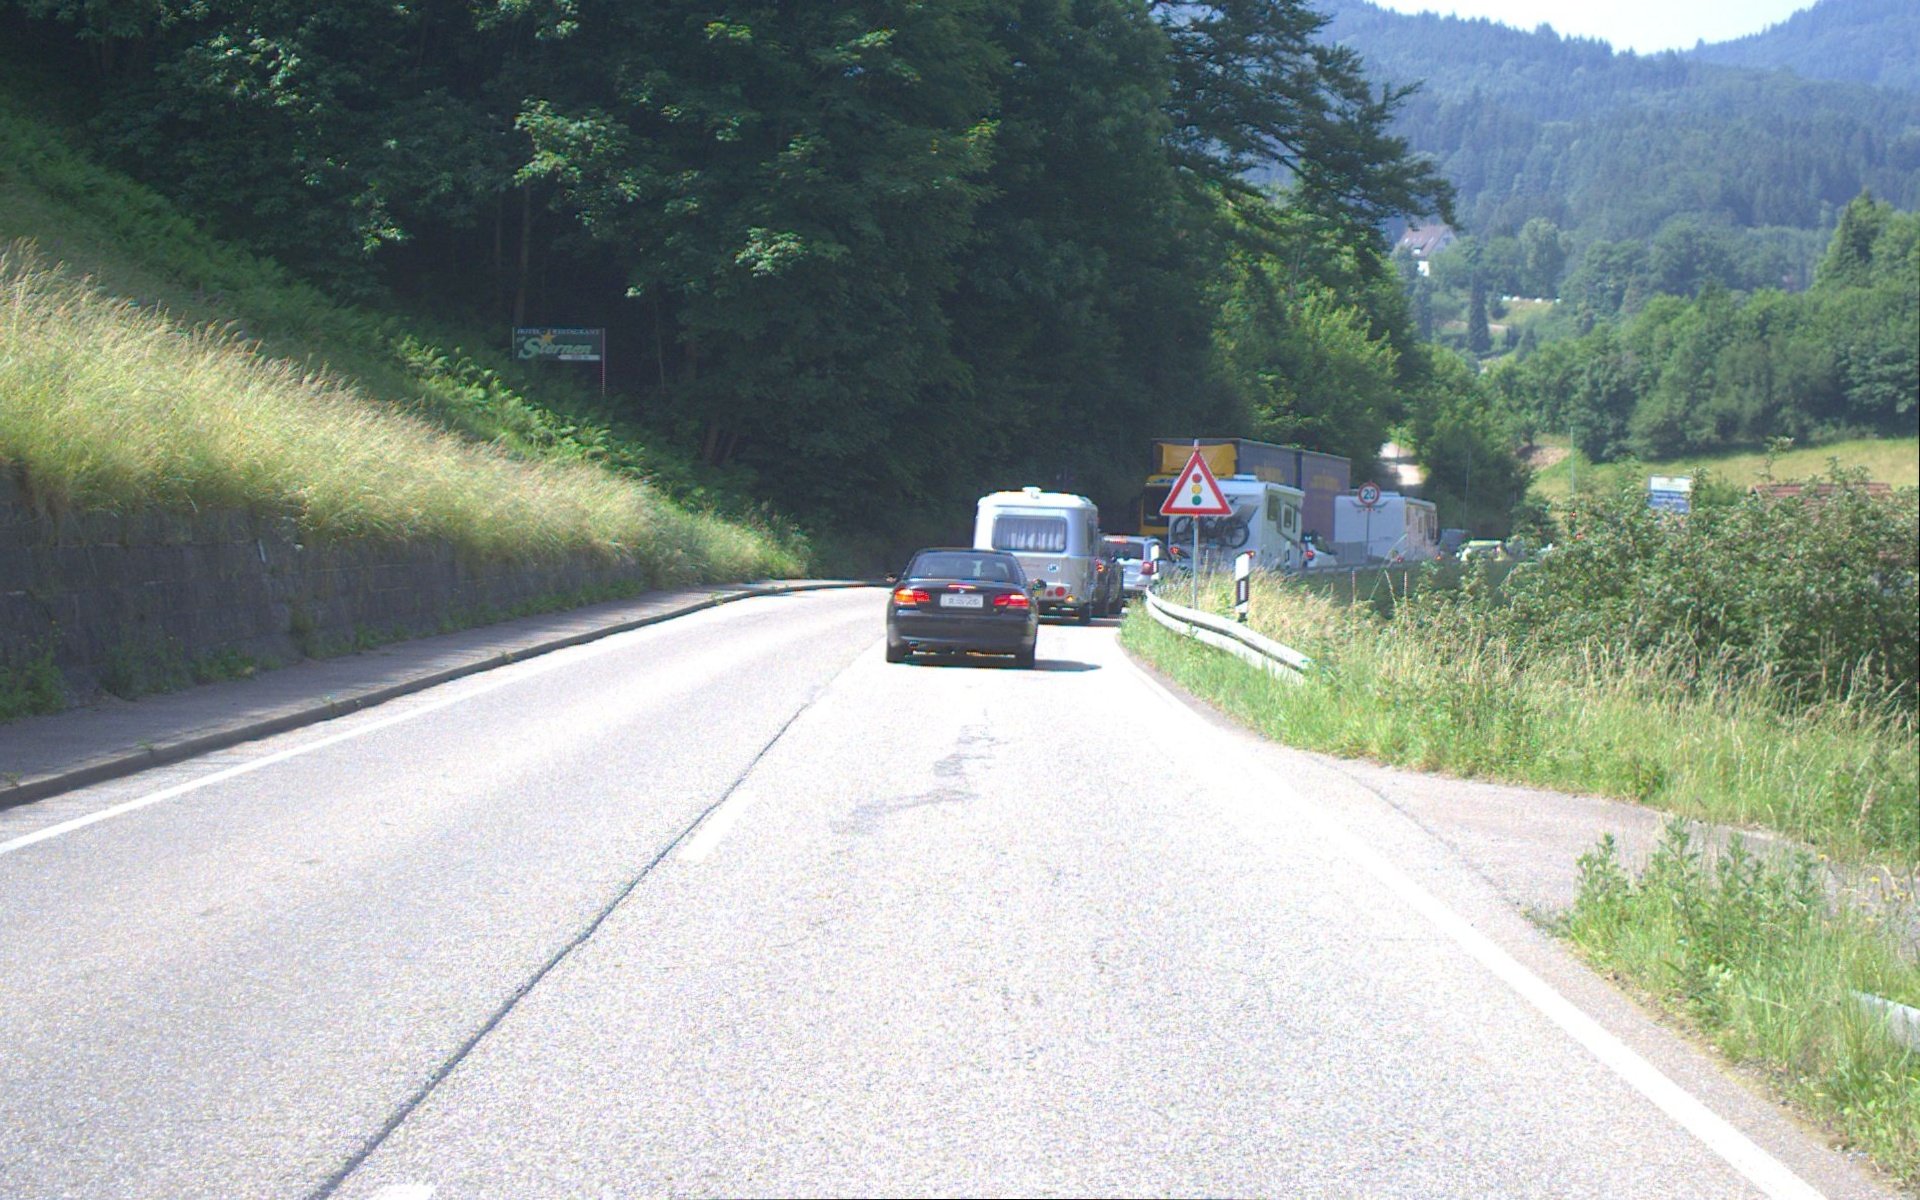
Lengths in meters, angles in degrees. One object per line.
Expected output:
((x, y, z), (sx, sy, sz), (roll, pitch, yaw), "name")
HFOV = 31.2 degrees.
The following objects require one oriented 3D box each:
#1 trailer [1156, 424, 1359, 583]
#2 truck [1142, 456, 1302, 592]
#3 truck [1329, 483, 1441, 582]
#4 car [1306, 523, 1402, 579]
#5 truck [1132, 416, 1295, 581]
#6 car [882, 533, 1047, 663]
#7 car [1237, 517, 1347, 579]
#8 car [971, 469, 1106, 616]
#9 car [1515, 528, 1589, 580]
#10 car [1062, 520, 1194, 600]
((9.355, -2.923, 105.767), (3.262, 4.402, 15.305), (3, 2, 15), "trailer")
((6.507, -1.871, 84.317), (2.792, 2.987, 6.865), (5, 2, 12), "truck")
((13.158, -2.046, 106.057), (2.239, 2.794, 6.227), (3, 1, 17), "truck")
((11.422, -1.430, 99.420), (1.789, 1.459, 3.996), (5, 3, 20), "car")
((7.301, -2.886, 98.146), (3.191, 4.381, 6.567), (4, 2, 15), "truck")
((0.047, -0.059, 40.614), (1.771, 1.331, 3.767), (4, 1, 0), "car")
((8.945, -1.404, 92.298), (1.995, 1.459, 3.997), (5, 3, 18), "car")
((1.410, -1.055, 59.799), (1.994, 2.344, 4.914), (3, 3, 4), "car")
((23.629, -1.835, 137.129), (1.996, 1.919, 3.996), (5, 3, 21), "car")
((3.549, -0.850, 71.970), (1.995, 1.479, 3.998), (5, 2, 13), "car")
